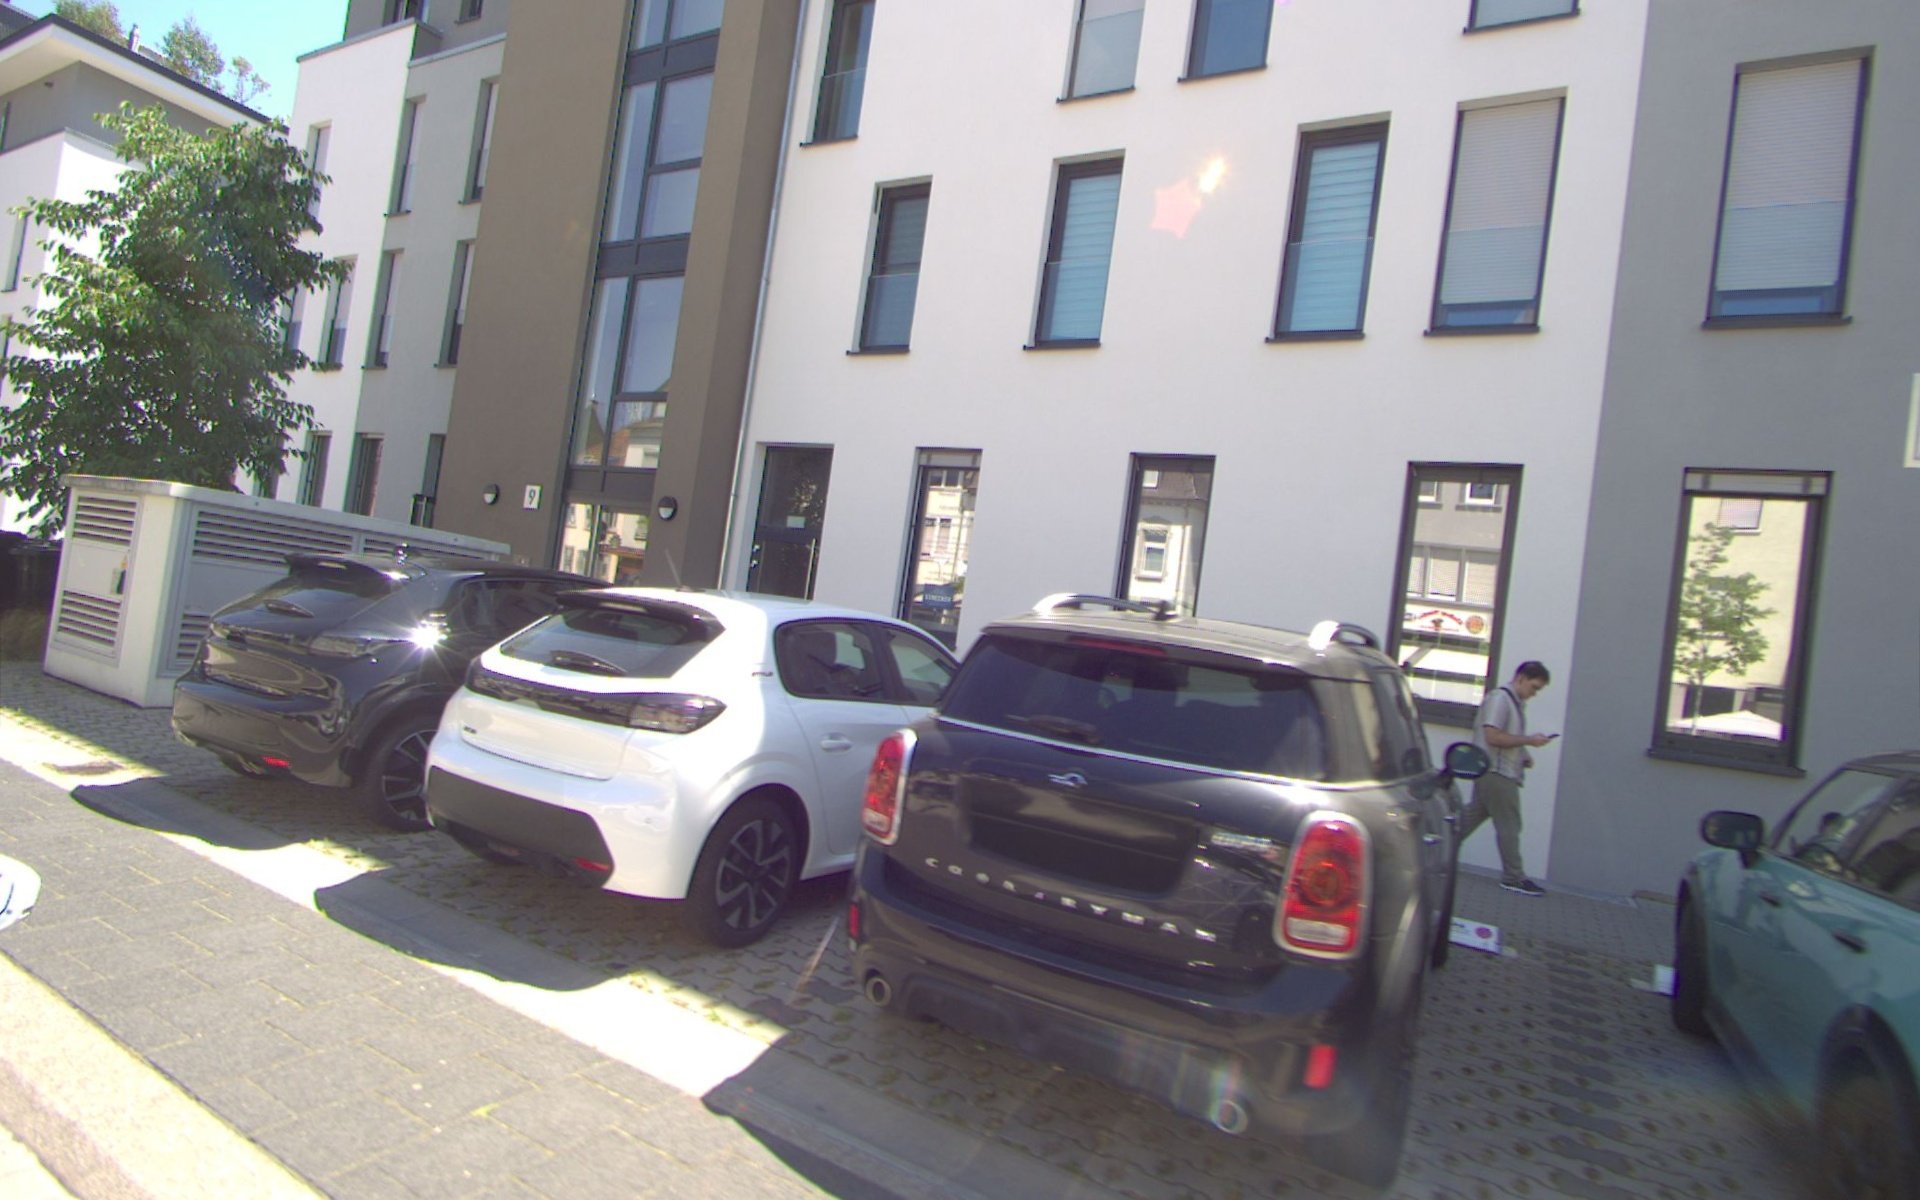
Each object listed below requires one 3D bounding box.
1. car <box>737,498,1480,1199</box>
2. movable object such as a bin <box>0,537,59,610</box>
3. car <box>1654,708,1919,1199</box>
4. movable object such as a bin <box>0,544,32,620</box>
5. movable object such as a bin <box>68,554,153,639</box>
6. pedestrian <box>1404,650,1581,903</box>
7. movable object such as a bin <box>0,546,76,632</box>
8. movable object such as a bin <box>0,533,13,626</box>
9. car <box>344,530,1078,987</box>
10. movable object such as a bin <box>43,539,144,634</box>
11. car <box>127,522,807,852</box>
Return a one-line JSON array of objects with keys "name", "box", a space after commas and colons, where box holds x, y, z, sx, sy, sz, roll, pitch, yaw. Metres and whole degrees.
[{"name": "car", "box": [1.104, 0.861, 4.332, 1.809, 1.807, 3.819, 7, -2, 28]}, {"name": "movable object such as a bin", "box": [-13.223, -0.369, 14.249, 0.519, 0.942, 0.474, 7, 0, 31]}, {"name": "car", "box": [3.420, 1.198, 3.117, 1.589, 1.479, 3.616, 7, -2, 29]}, {"name": "movable object such as a bin", "box": [-12.232, -0.241, 12.733, 0.429, 0.935, 0.483, 7, 0, 8]}, {"name": "movable object such as a bin", "box": [-10.168, -0.032, 12.051, 0.457, 0.942, 0.563, 7, 0, 25]}, {"name": "pedestrian", "box": [4.078, 1.309, 7.713, 0.991, 1.703, 0.576, 7, -2, 32]}, {"name": "movable object such as a bin", "box": [-10.895, -0.122, 11.862, 0.459, 0.942, 0.485, 7, 0, 25]}, {"name": "movable object such as a bin", "box": [-11.598, -0.276, 11.760, 0.551, 1.073, 0.569, 7, 0, 32]}, {"name": "car", "box": [-0.931, 0.717, 5.631, 1.747, 1.499, 3.819, 7, -2, 28]}, {"name": "movable object such as a bin", "box": [-10.722, -0.159, 12.465, 0.613, 1.073, 0.648, 7, 0, 18]}, {"name": "car", "box": [-2.840, 0.520, 6.588, 1.510, 1.462, 3.662, 6, -1, 32]}]
